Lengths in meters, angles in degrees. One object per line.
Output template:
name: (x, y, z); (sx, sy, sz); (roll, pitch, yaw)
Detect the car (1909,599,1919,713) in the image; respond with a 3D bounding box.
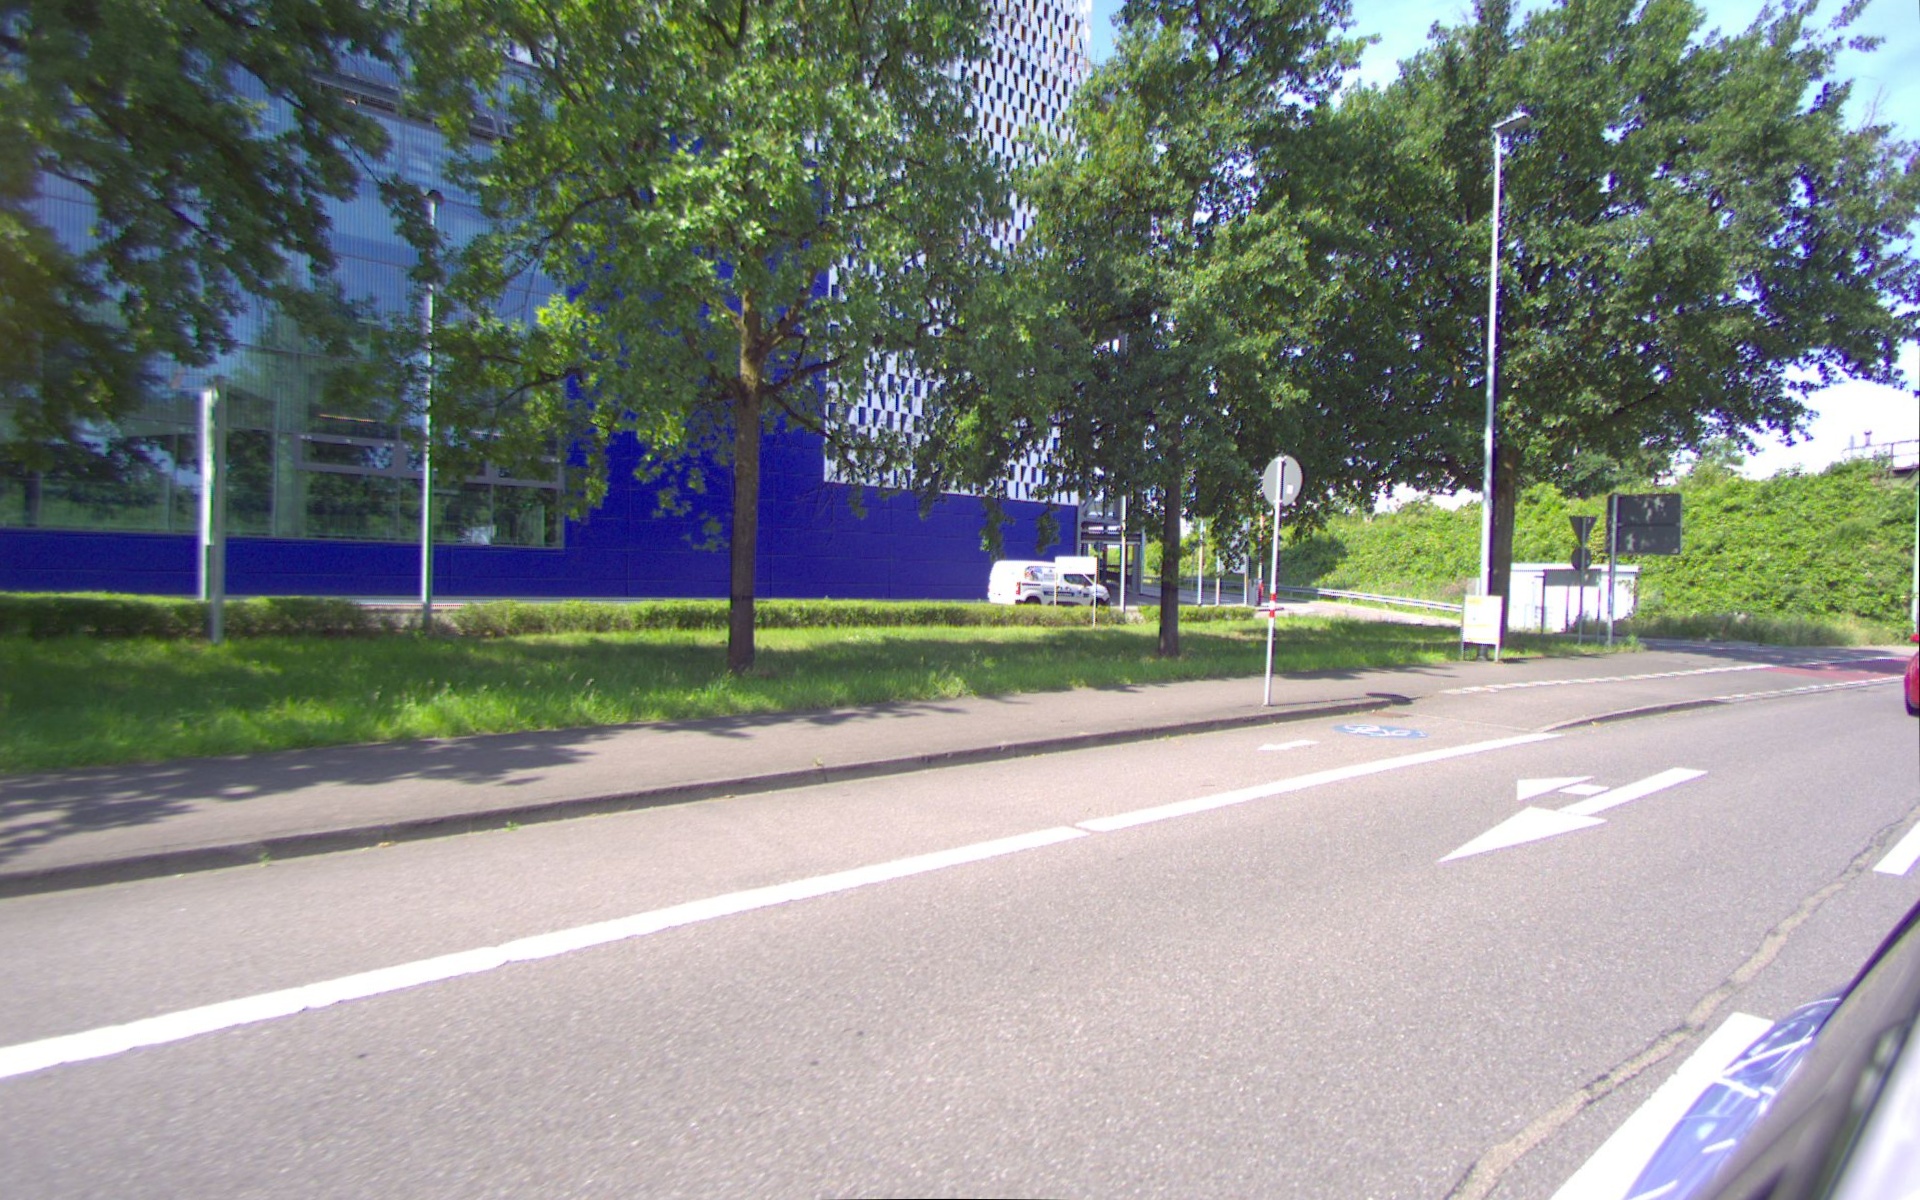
car: (14.509, 0.728, 13.713); (3.906, 1.472, 1.798); (-1, 1, -38)

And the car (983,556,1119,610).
car: (3.007, -0.533, 33.090); (4.221, 1.660, 1.857); (0, 0, -34)
